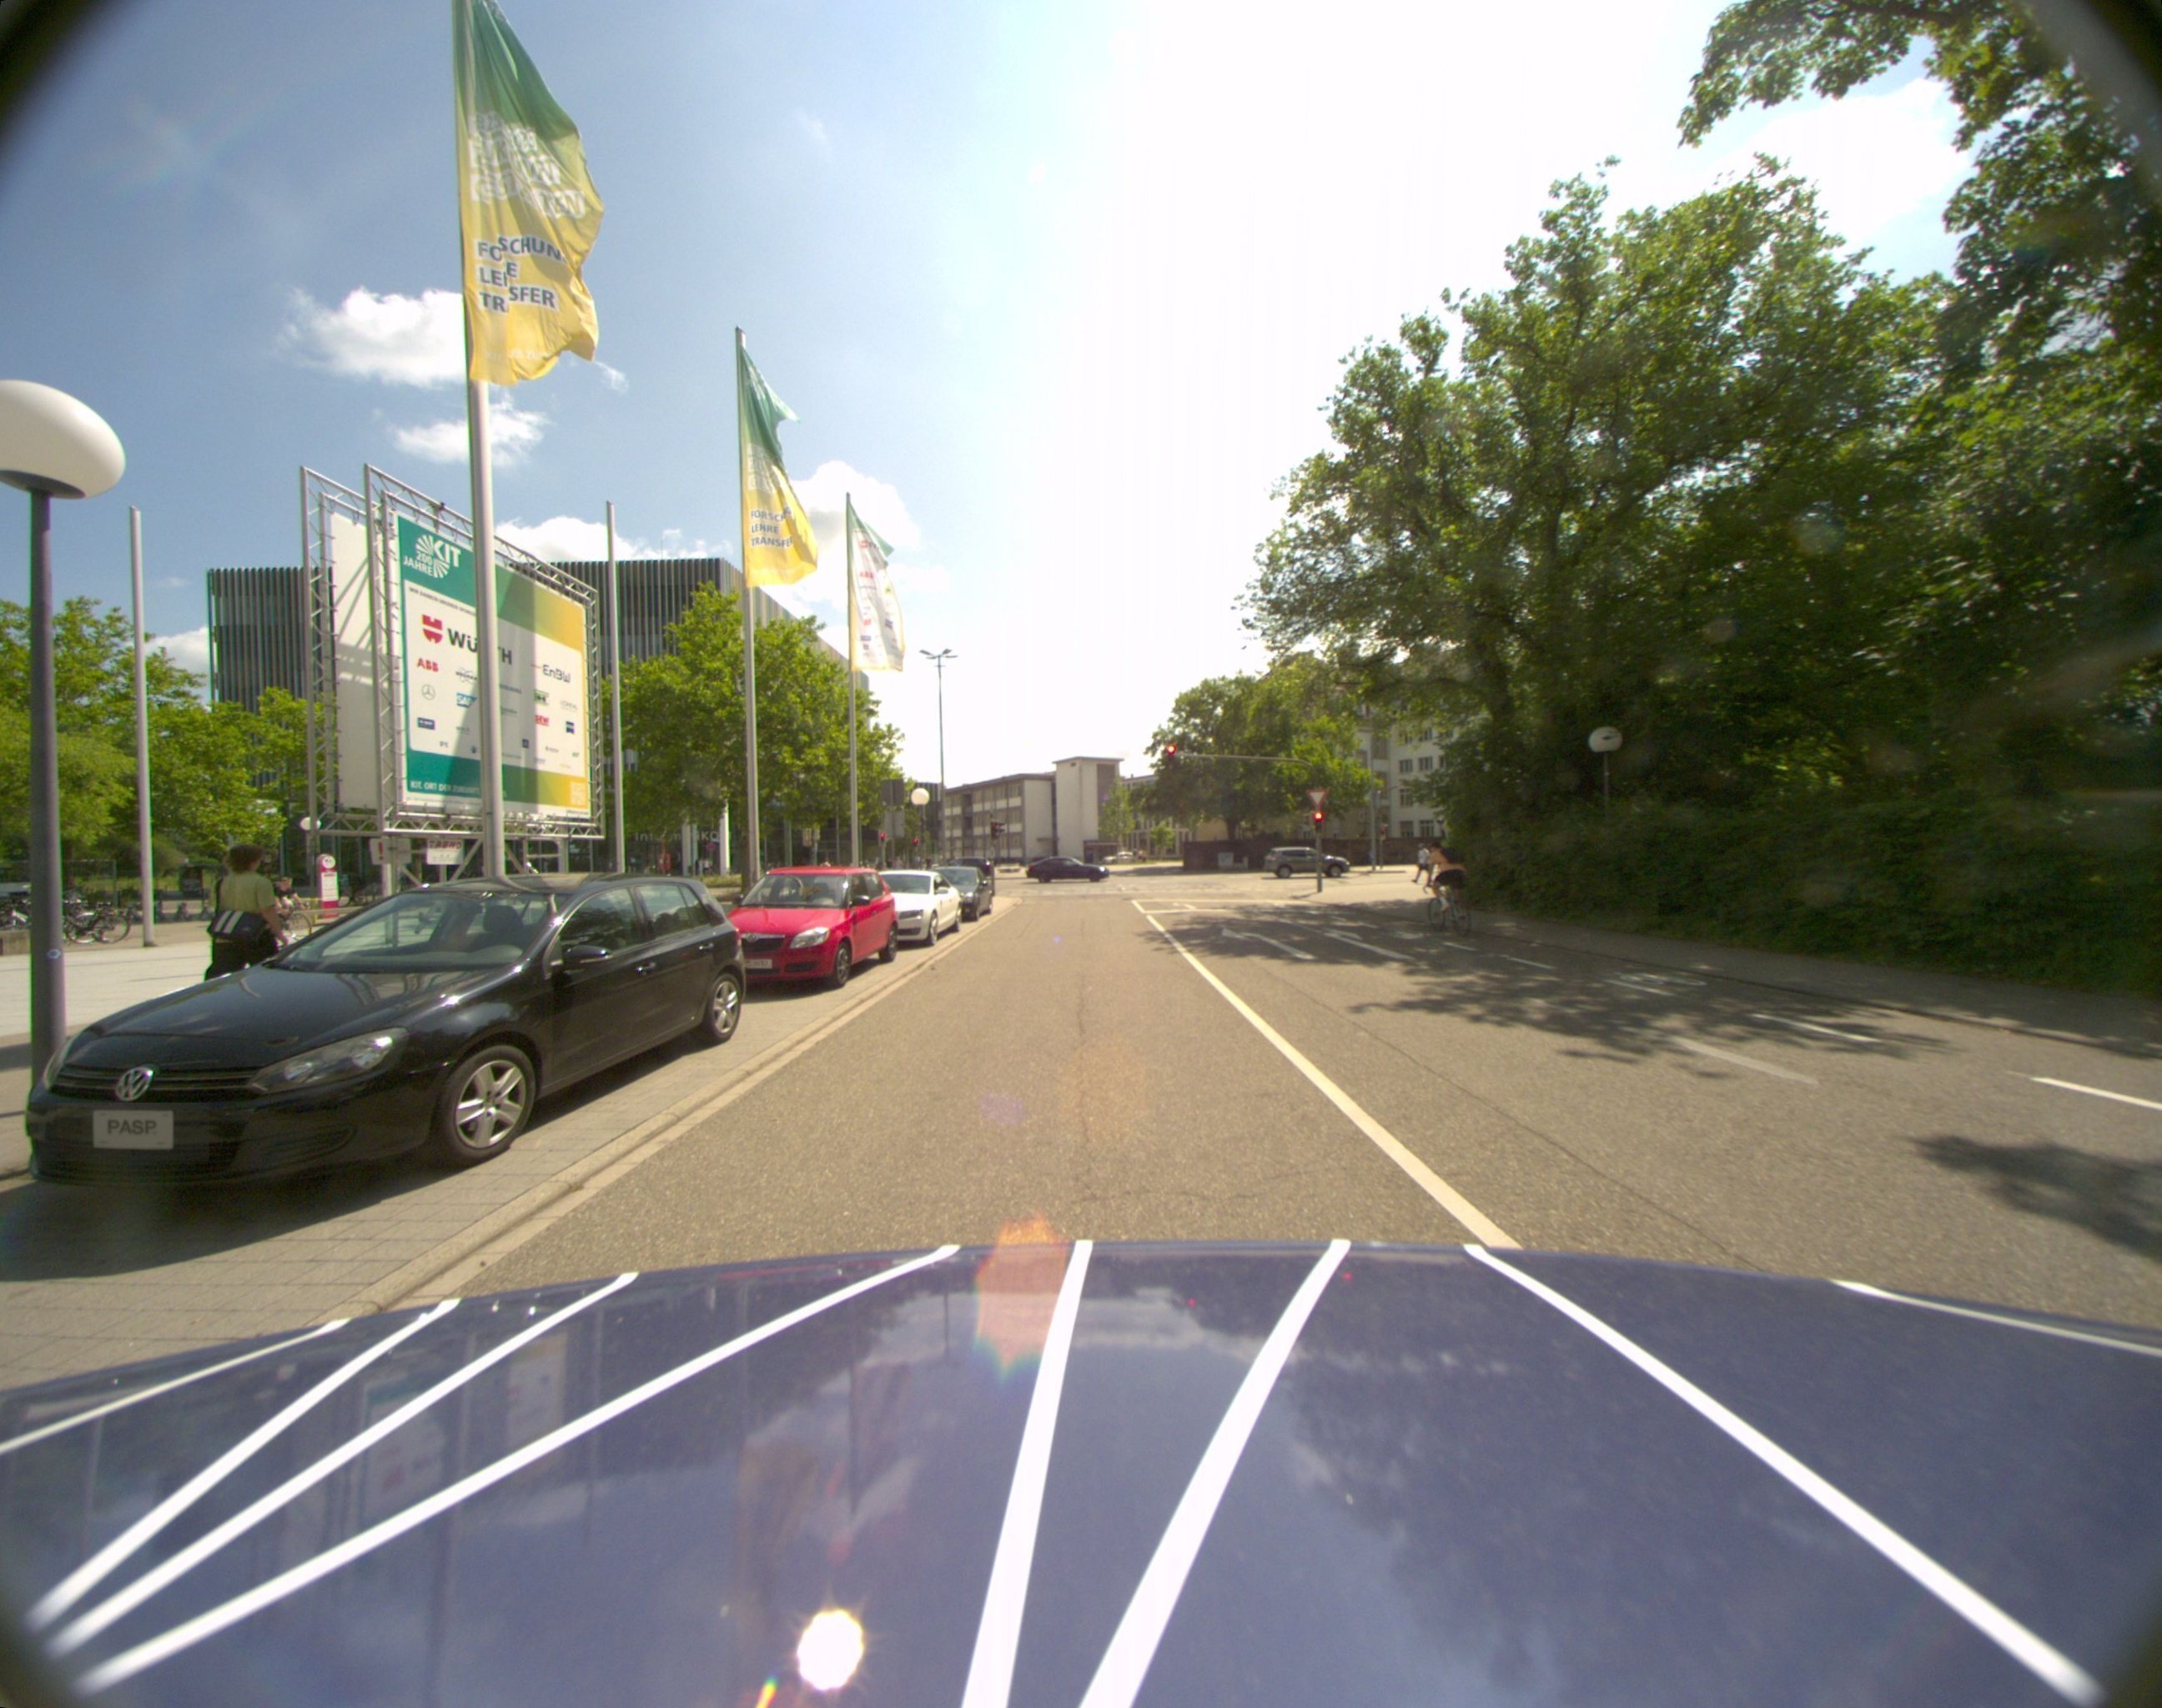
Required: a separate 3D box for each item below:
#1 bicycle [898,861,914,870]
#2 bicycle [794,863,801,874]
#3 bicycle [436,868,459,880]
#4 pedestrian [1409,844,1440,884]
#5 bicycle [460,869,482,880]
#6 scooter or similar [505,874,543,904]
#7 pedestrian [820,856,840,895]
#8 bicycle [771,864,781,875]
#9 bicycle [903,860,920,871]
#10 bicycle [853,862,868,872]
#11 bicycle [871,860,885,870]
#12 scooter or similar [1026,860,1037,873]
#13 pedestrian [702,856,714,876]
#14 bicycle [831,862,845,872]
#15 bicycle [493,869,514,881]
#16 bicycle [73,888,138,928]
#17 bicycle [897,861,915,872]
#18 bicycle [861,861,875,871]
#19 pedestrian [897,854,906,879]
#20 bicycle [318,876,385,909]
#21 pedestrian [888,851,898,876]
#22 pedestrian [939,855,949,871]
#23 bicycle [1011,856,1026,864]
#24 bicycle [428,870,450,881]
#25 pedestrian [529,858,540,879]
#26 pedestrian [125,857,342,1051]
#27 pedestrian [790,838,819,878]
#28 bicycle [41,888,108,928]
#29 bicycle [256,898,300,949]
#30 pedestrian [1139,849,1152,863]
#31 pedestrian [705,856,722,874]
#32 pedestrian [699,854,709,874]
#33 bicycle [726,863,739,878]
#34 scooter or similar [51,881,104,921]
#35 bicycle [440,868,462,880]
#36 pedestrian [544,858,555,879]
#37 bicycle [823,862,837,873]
[{"bbox_3d":[-17.633,1.140,76.416,1.768,0.950,0.530,0,2,39],"label":"bicycle"},{"bbox_3d":[-26.275,1.339,70.331,0.529,0.950,1.770,-1,1,-19],"label":"bicycle"},{"bbox_3d":[-56.158,1.779,67.345,0.373,0.950,1.548,0,2,16],"label":"bicycle"},{"bbox_3d":[14.738,0.440,32.606,0.930,1.690,0.854,-1,-1,3],"label":"pedestrian"},{"bbox_3d":[-53.729,1.802,66.917,0.373,0.950,1.548,0,2,16],"label":"bicycle"},{"bbox_3d":[-21.887,1.368,29.869,1.191,1.159,0.353,-1,3,1],"label":"scooter or similar"},{"bbox_3d":[-11.757,1.003,35.612,0.594,1.789,0.612,-2,-2,38],"label":"pedestrian"},{"bbox_3d":[-27.851,1.432,69.448,0.374,0.950,1.768,-2,2,-38],"label":"bicycle"},{"bbox_3d":[-15.147,1.016,67.876,1.768,0.950,0.530,0,2,39],"label":"bicycle"},{"bbox_3d":[-21.336,1.228,73.554,1.768,0.950,0.530,0,2,45],"label":"bicycle"},{"bbox_3d":[-20.008,1.104,74.866,1.768,0.950,0.530,0,2,45],"label":"bicycle"},{"bbox_3d":[-4.050,0.995,61.981,0.403,1.060,1.149,-2,1,-26],"label":"scooter or similar"},{"bbox_3d":[-34.108,1.074,69.512,0.677,1.831,0.691,-1,2,8],"label":"pedestrian"},{"bbox_3d":[-23.160,1.239,72.480,0.530,0.950,1.768,-6,5,-43],"label":"bicycle"},{"bbox_3d":[-51.268,1.887,67.486,0.373,0.950,1.548,0,2,16],"label":"bicycle"},{"bbox_3d":[-31.449,1.716,24.527,0.605,1.093,1.763,-2,3,-30],"label":"bicycle"},{"bbox_3d":[-15.522,1.082,67.414,1.768,0.950,0.530,0,2,39],"label":"bicycle"},{"bbox_3d":[-20.765,1.203,74.091,1.768,0.950,0.530,0,2,45],"label":"bicycle"},{"bbox_3d":[-13.425,0.947,56.861,0.576,1.831,0.415,-2,2,-16],"label":"pedestrian"},{"bbox_3d":[-27.971,1.473,29.154,2.028,1.176,0.800,-1,2,11],"label":"bicycle"},{"bbox_3d":[-14.001,0.695,56.640,0.633,1.831,0.479,-1,2,-14],"label":"pedestrian"},{"bbox_3d":[-14.930,0.993,82.600,0.845,1.779,0.676,-2,1,-29],"label":"pedestrian"},{"bbox_3d":[-7.725,0.694,93.683,1.776,0.950,0.528,-1,2,-25],"label":"bicycle"},{"bbox_3d":[-56.843,1.897,67.301,0.373,0.950,1.548,0,2,16],"label":"bicycle"},{"bbox_3d":[-50.052,1.312,69.535,0.554,1.831,0.561,-1,2,-7],"label":"pedestrian"},{"bbox_3d":[-8.121,0.906,7.344,0.920,1.730,1.001,-1,1,0],"label":"pedestrian"},{"bbox_3d":[-12.967,0.220,35.664,0.856,1.808,1.177,0,-3,2],"label":"pedestrian"},{"bbox_3d":[-32.104,1.712,24.262,0.605,1.093,1.763,-2,3,-30],"label":"bicycle"},{"bbox_3d":[-19.392,1.662,18.375,0.609,1.131,1.583,0,-1,-42],"label":"bicycle"},{"bbox_3d":[7.363,0.225,87.134,1.297,1.641,1.327,-1,1,13],"label":"pedestrian"},{"bbox_3d":[-34.738,1.046,71.806,1.014,1.641,1.183,-1,1,1],"label":"pedestrian"},{"bbox_3d":[-33.849,0.903,68.218,0.790,1.831,0.516,-1,1,-24],"label":"pedestrian"},{"bbox_3d":[-30.687,1.437,66.902,0.373,1.180,1.546,0,2,-1],"label":"bicycle"},{"bbox_3d":[-33.313,1.550,25.233,0.281,1.226,1.297,0,1,-14],"label":"scooter or similar"},{"bbox_3d":[-55.619,1.776,67.116,0.373,0.950,1.548,0,2,16],"label":"bicycle"},{"bbox_3d":[-48.445,1.298,69.206,0.554,1.831,0.561,-1,2,-7],"label":"pedestrian"},{"bbox_3d":[-23.769,1.290,71.924,0.530,0.950,1.768,-2,2,-43],"label":"bicycle"}]
